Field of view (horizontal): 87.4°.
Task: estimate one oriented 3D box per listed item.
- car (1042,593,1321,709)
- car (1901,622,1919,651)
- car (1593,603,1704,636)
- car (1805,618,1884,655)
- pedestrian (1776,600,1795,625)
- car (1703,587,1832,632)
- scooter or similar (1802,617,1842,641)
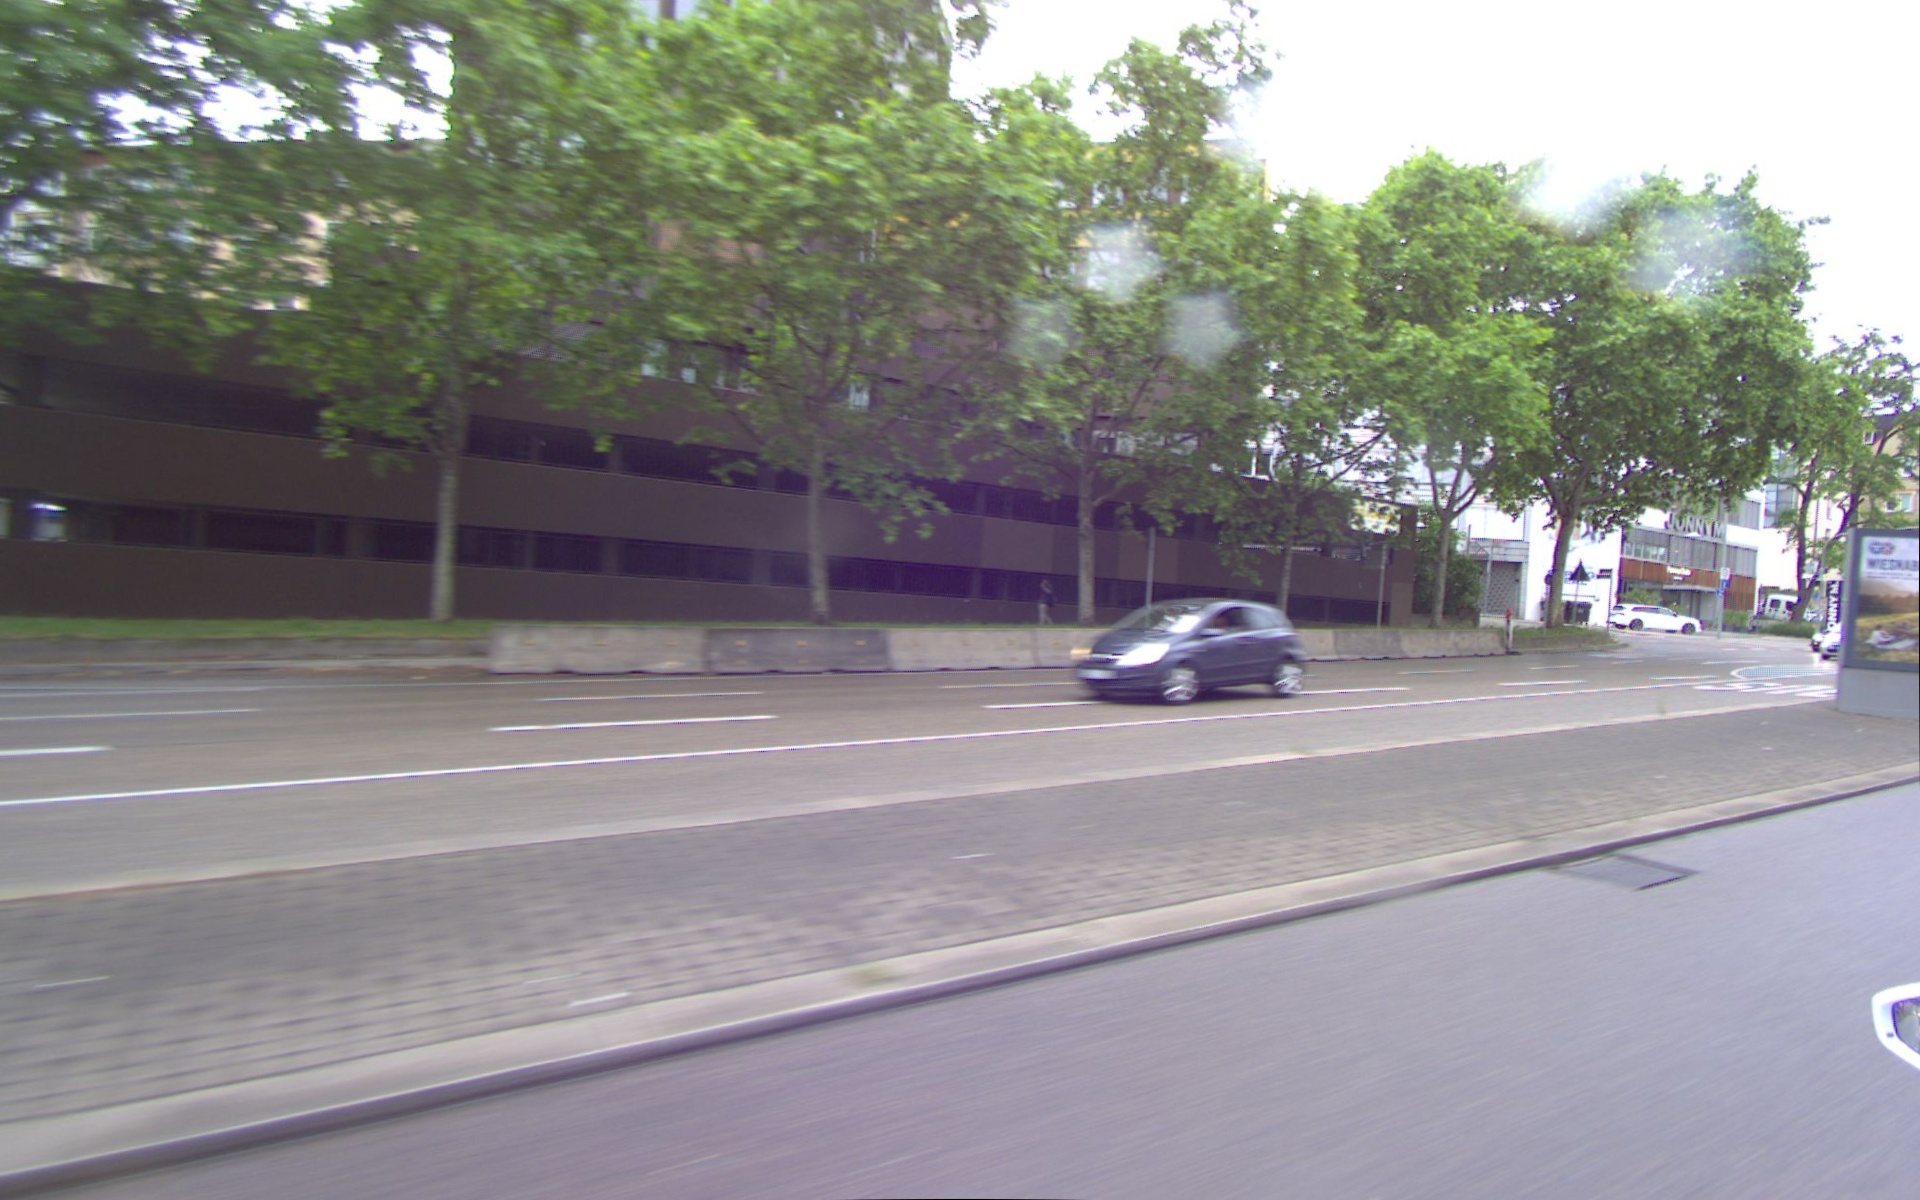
[{"bbox_3d":[3.424,0.677,15.260,4.133,1.520,1.920,0,1,-37],"label":"car"},{"bbox_3d":[51.265,1.953,52.676,4.836,1.466,1.979,2,0,-37],"label":"car"},{"bbox_3d":[38.904,1.089,56.886,4.745,1.676,2.001,1,2,7],"label":"car"},{"bbox_3d":[40.037,1.653,45.436,4.128,1.539,1.742,1,0,-35],"label":"car"},{"bbox_3d":[55.692,0.818,67.773,0.832,1.663,0.764,1,0,-32],"label":"pedestrian"},{"bbox_3d":[59.904,0.638,74.714,2.484,2.307,6.867,-1,9,-30],"label":"car"},{"bbox_3d":[53.187,1.790,61.974,1.724,1.263,0.369,6,3,30],"label":"scooter or similar"}]
